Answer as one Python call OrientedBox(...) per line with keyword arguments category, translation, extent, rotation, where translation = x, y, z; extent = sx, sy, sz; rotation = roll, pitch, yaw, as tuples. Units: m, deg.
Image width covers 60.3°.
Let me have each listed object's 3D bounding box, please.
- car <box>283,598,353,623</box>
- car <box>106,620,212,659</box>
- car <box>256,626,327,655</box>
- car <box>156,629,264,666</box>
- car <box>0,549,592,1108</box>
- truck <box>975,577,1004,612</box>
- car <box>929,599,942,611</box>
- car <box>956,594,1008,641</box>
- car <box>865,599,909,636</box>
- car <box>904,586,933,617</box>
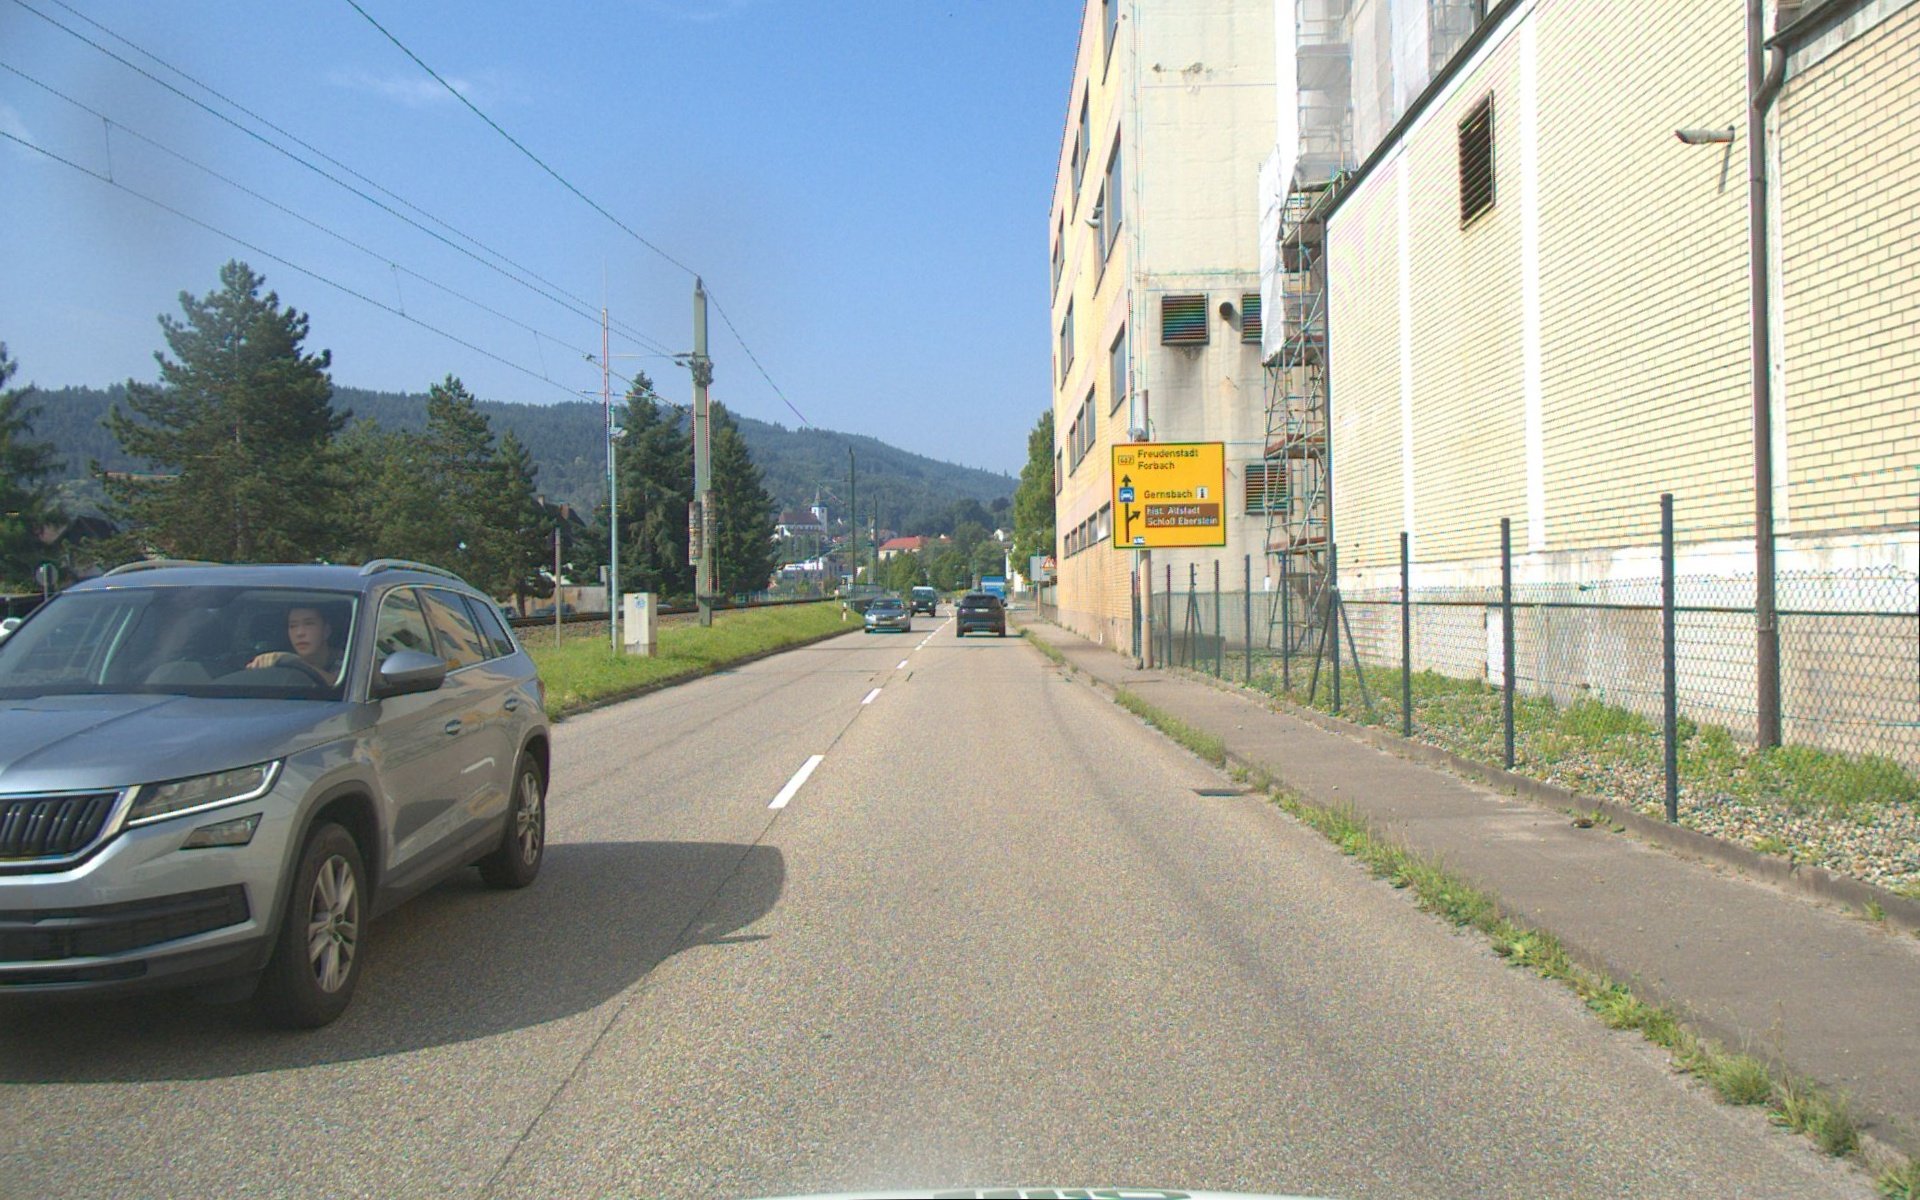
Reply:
OrientedBox(category="car", translation=(-41.580, 0.687, 107.167), extent=(3.912, 1.563, 1.815), rotation=(-1, 0, -8))
OrientedBox(category="car", translation=(-31.806, 1.558, 65.706), extent=(1.493, 1.381, 3.497), rotation=(-1, 1, 44))
OrientedBox(category="car", translation=(-32.647, 1.995, 80.753), extent=(3.462, 1.348, 1.453), rotation=(-2, 0, 33))
OrientedBox(category="car", translation=(-31.331, 1.968, 69.195), extent=(1.535, 1.348, 3.840), rotation=(-2, 0, 38))
OrientedBox(category="car", translation=(-3.027, 0.679, 7.131), extent=(1.867, 1.628, 4.570), rotation=(-1, 0, 0))
OrientedBox(category="truck", translation=(2.604, -0.525, 148.560), extent=(2.266, 3.022, 5.964), rotation=(-1, 1, -2))
OrientedBox(category="car", translation=(-3.336, 0.690, 224.083), extent=(1.706, 1.533, 4.199), rotation=(-1, 0, -1))
OrientedBox(category="car", translation=(0.846, 0.624, 62.799), extent=(1.880, 1.668, 4.001), rotation=(-1, 0, 1))
OrientedBox(category="car", translation=(-3.086, 0.727, 70.514), extent=(1.732, 1.430, 4.296), rotation=(-2, 0, -1))
OrientedBox(category="car", translation=(-2.805, 0.087, 113.000), extent=(1.722, 2.114, 4.809), rotation=(0, 0, 2))
